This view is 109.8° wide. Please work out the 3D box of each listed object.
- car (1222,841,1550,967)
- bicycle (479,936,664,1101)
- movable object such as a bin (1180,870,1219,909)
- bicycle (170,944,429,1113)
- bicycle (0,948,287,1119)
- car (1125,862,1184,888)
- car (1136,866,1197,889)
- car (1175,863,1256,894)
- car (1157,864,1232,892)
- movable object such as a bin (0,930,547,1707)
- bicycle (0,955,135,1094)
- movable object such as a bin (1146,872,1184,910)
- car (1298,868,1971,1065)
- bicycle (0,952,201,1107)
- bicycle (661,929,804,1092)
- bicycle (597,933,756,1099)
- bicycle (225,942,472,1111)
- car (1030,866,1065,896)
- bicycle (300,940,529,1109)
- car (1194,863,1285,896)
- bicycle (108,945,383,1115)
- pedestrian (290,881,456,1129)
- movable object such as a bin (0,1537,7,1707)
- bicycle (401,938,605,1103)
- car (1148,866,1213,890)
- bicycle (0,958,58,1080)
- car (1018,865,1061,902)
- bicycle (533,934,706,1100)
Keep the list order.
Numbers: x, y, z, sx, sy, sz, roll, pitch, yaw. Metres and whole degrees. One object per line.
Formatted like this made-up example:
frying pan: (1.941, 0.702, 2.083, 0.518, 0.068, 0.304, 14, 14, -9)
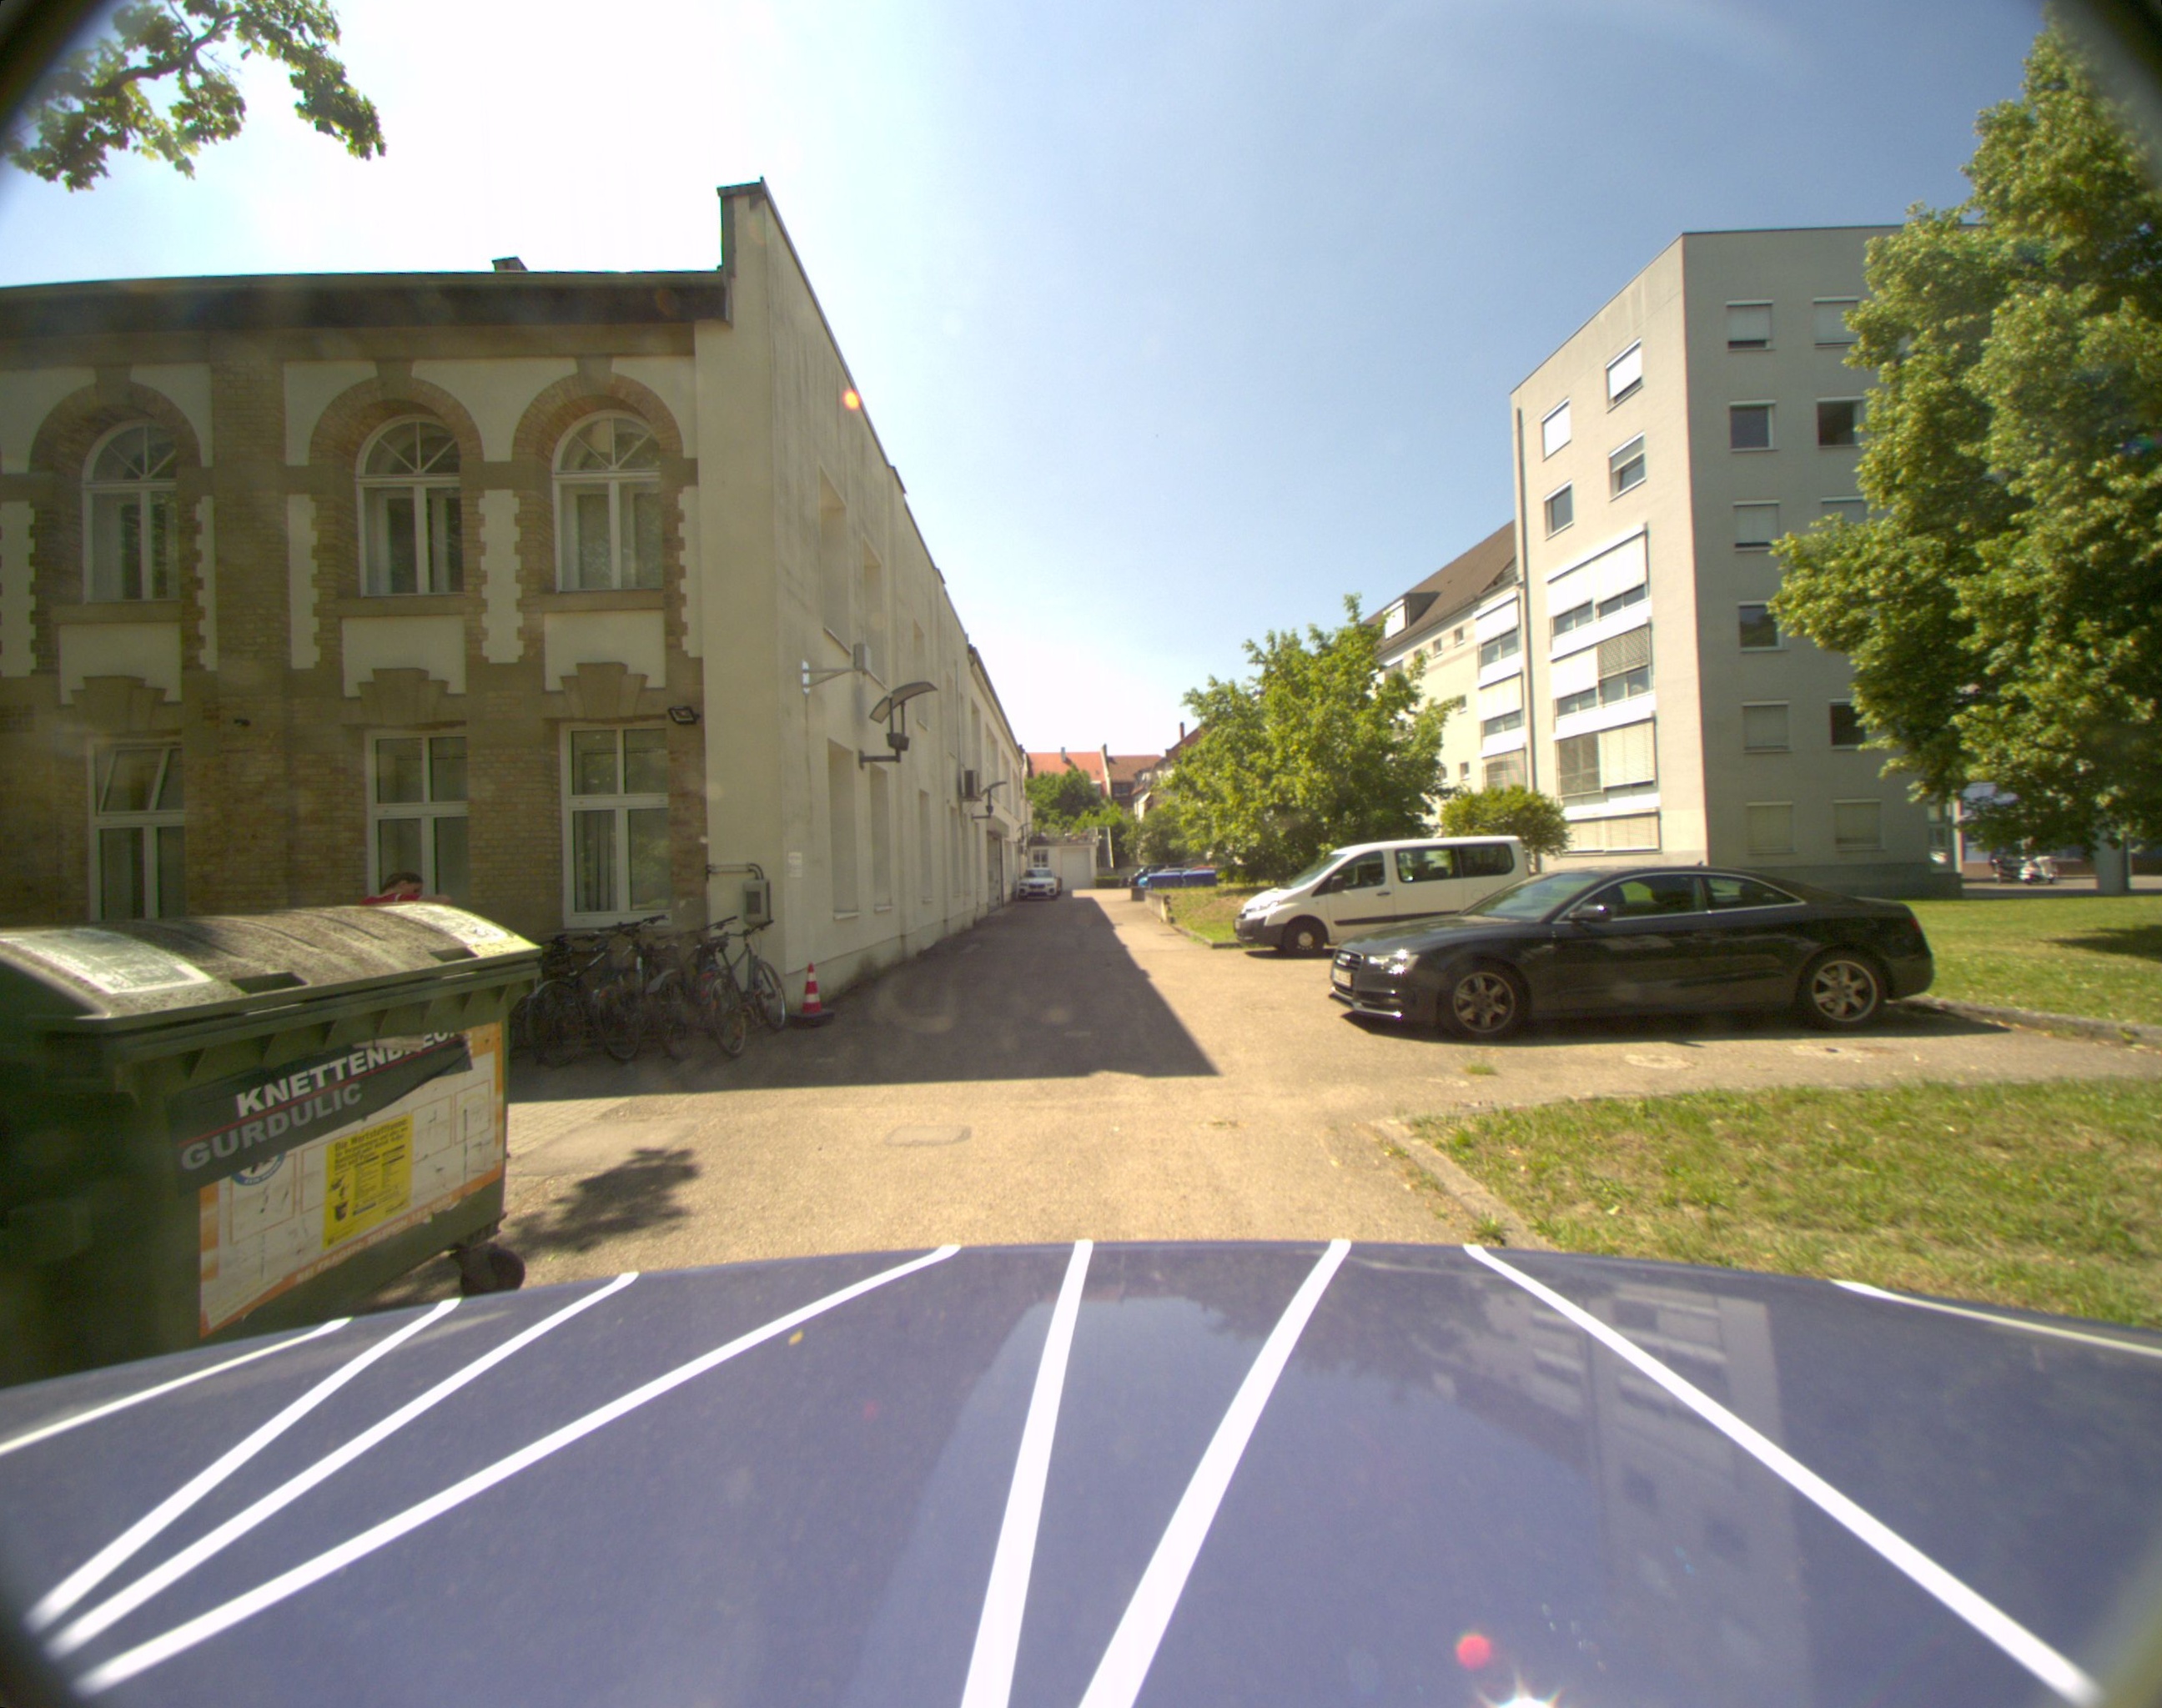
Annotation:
car: (5.098, 0.818, 13.295, 4.859, 1.872, 2.068, -2, 0, 2)
bicycle: (-4.477, 1.381, 6.845, 0.406, 1.095, 1.826, -2, 0, 0)
movable object such as a bin: (4.474, 1.342, 28.774, 1.271, 1.380, 1.095, -2, 0, 0)
bicycle: (-6.845, 1.459, 6.807, 0.406, 1.095, 1.826, -2, 0, 0)
bicycle: (-8.283, 1.506, 6.801, 0.406, 1.095, 1.826, -2, 0, 0)
car: (5.678, 1.637, 59.094, 4.223, 1.812, 2.009, -2, 0, -6)
car: (6.315, 1.723, 56.161, 4.223, 1.559, 1.612, -2, 0, -6)
car: (7.599, 1.387, 43.188, 4.223, 1.559, 1.612, -2, 0, -6)
car: (6.929, 1.464, 46.489, 4.223, 1.559, 1.612, -2, 0, -6)
movable object such as a bin: (-2.614, 1.027, 2.219, 1.078, 1.449, 1.377, -2, 0, 1)
bicycle: (-9.632, 1.550, 6.646, 0.406, 1.095, 1.826, -2, 0, 0)
movable object such as a bin: (3.175, 1.384, 28.743, 1.271, 1.380, 1.095, -2, 0, 0)
car: (4.454, 0.906, 6.790, 4.440, 1.371, 2.025, -2, -2, 2)
bicycle: (-9.059, 1.531, 6.709, 0.406, 1.095, 1.826, -2, 0, 0)
bicycle: (-3.052, 1.312, 6.844, 0.406, 1.095, 1.826, -2, 0, 0)
bicycle: (-3.521, 1.349, 6.791, 0.406, 1.095, 1.826, -2, 0, 0)
bicycle: (-6.403, 1.444, 6.799, 0.406, 1.095, 1.826, -2, 0, 0)
car: (-2.141, 1.726, 49.789, 2.011, 1.792, 4.727, -2, 0, 0)
bicycle: (-5.830, 1.426, 6.801, 0.406, 1.095, 1.826, -2, 0, 0)
car: (8.398, 1.343, 40.486, 4.445, 1.559, 1.612, -2, 0, -6)
bicycle: (-7.296, 1.474, 6.787, 0.406, 1.095, 1.826, -2, 0, 0)
pedestrian: (-5.338, 1.092, 5.770, 0.552, 1.738, 0.689, -2, 0, 1)
movable object such as a bin: (-2.635, 1.019, 0.775, 1.078, 1.449, 1.377, -2, 0, 1)
bicycle: (-5.088, 1.401, 6.851, 0.406, 1.095, 1.826, -2, 0, 0)
car: (6.939, 1.663, 53.106, 4.223, 1.559, 1.612, -2, 0, -6)
bicycle: (-10.345, 1.573, 6.601, 0.406, 1.095, 1.826, -2, 0, 0)
car: (-2.189, 1.518, 40.986, 2.011, 1.792, 4.727, -2, 0, 0)
bicycle: (-4.038, 1.367, 6.822, 0.406, 1.095, 1.826, -2, 0, 0)
